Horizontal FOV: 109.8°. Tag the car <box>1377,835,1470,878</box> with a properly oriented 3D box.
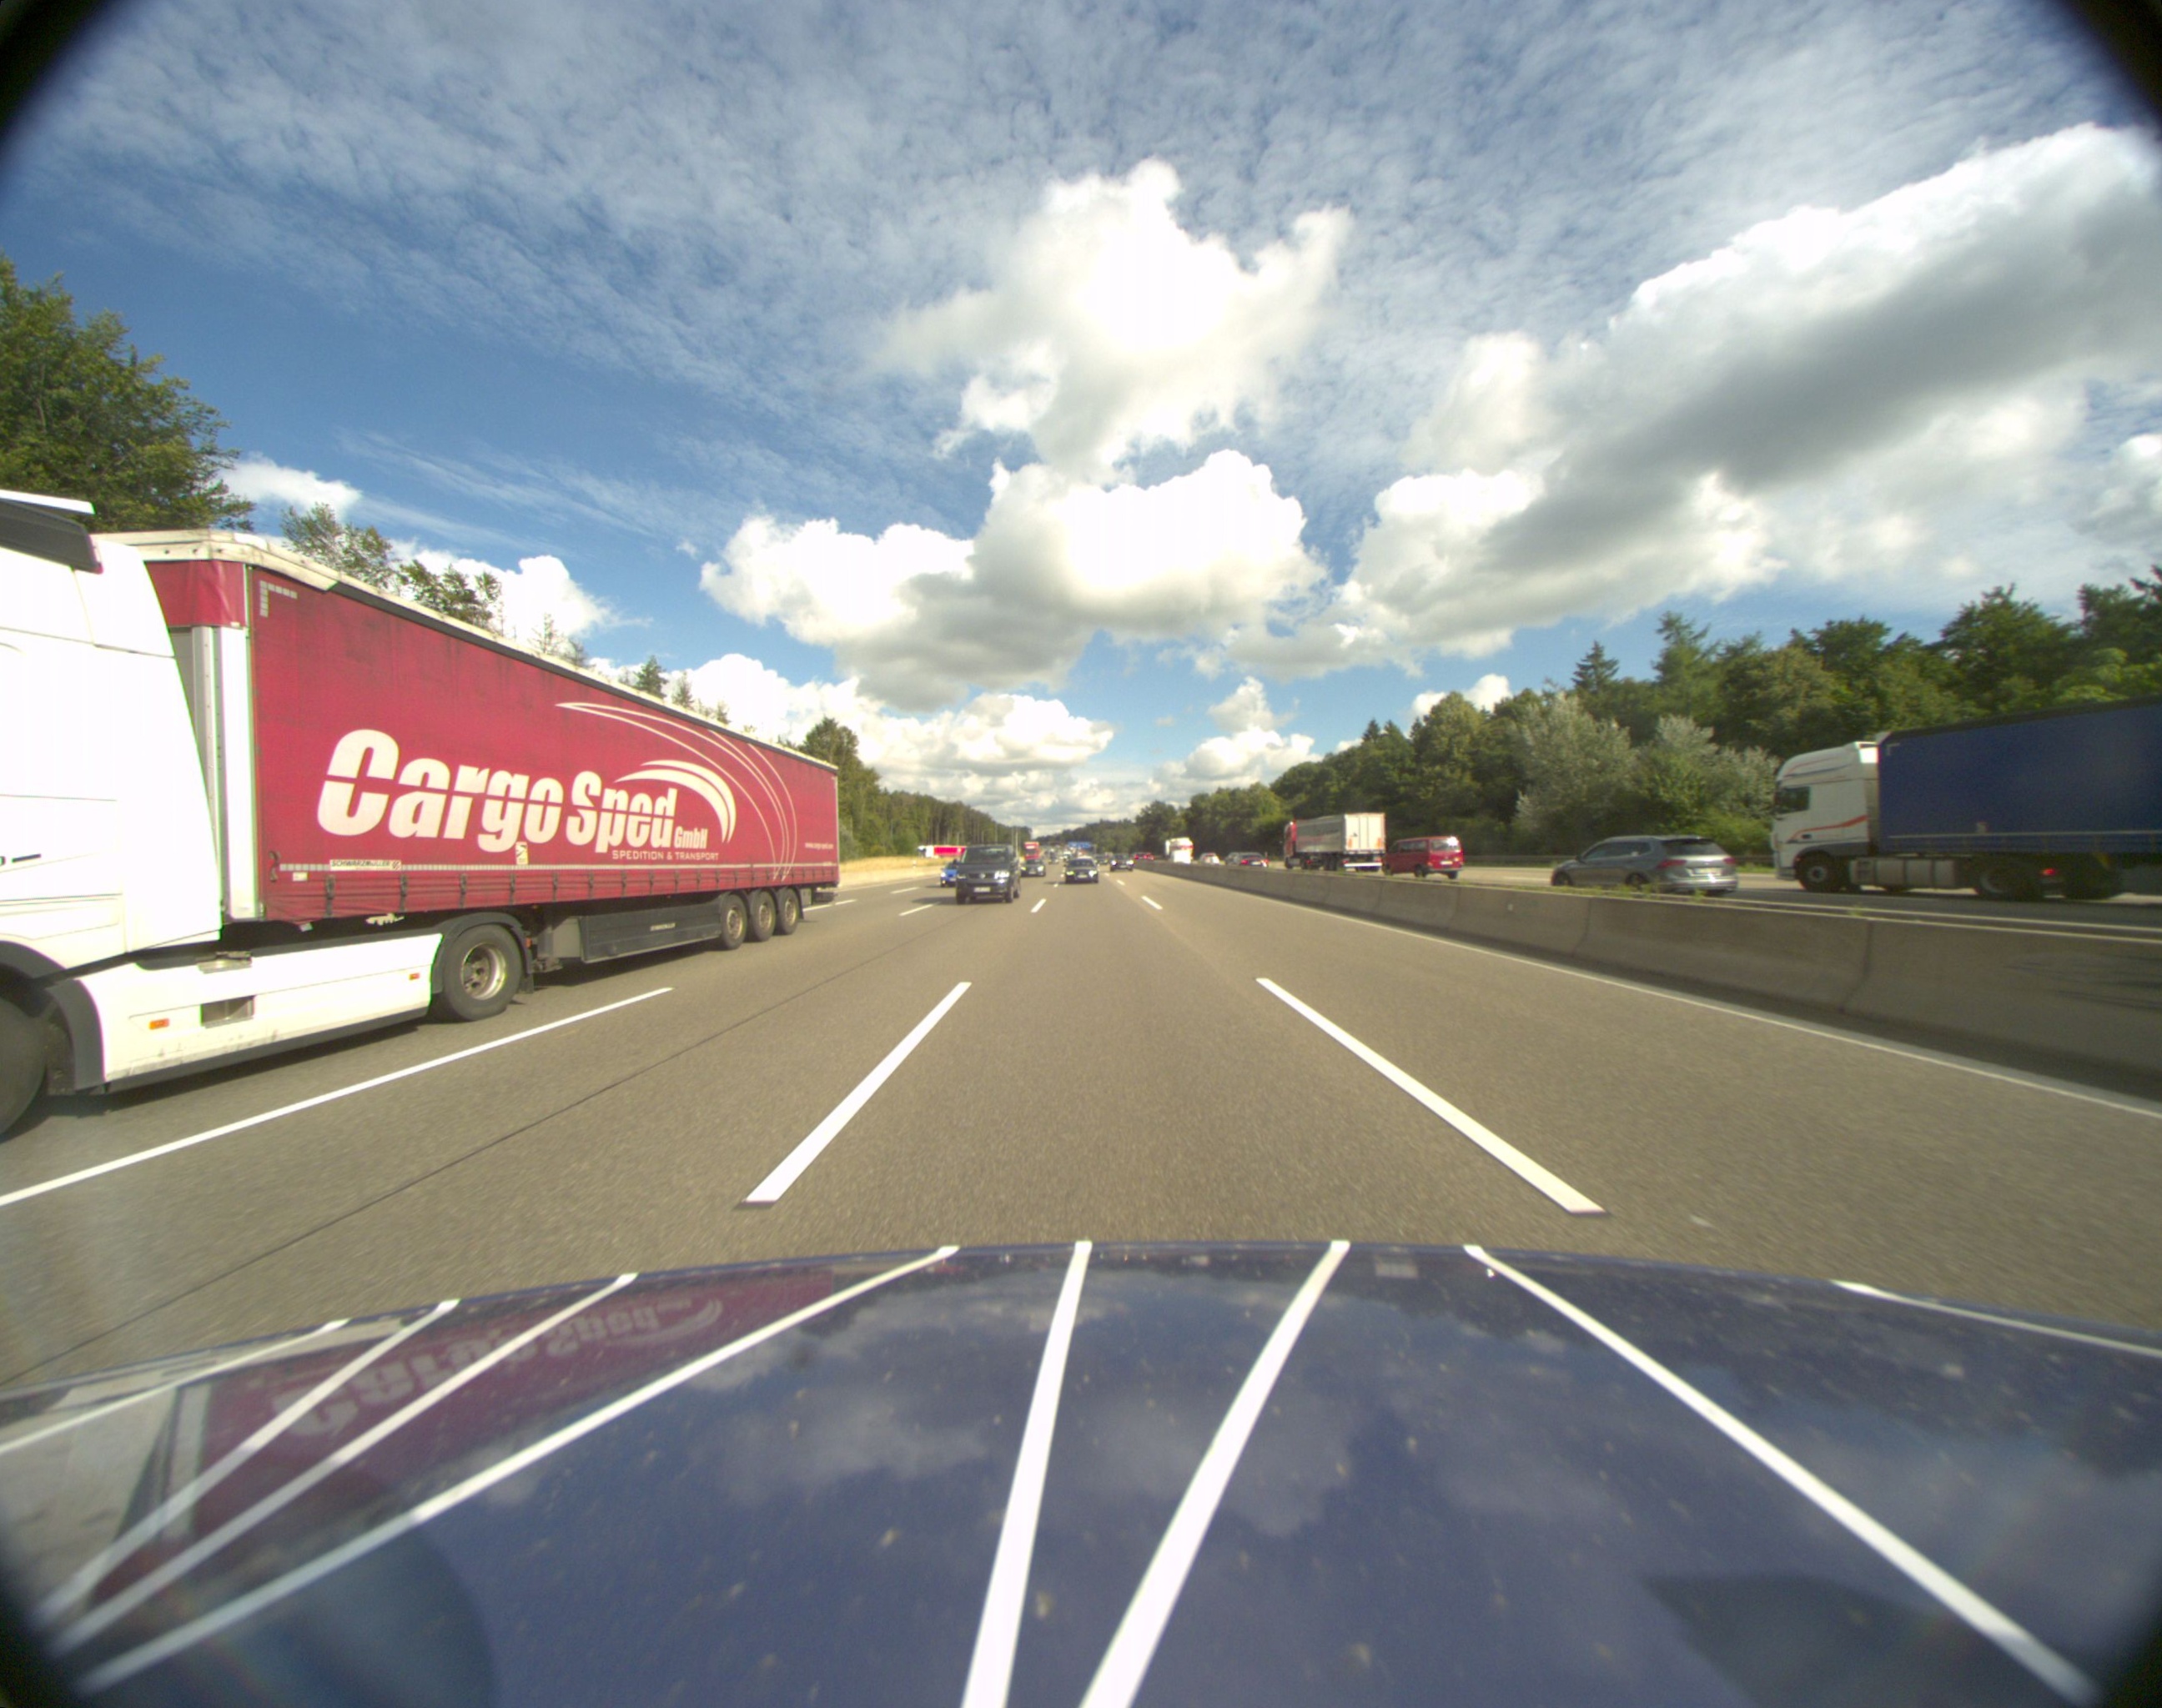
[{"bbox_3d":[16.256,0.103,36.362,1.852,1.929,5.031,0,0,-5],"label":"car"}]

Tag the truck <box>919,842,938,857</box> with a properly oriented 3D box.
[{"bbox_3d":[-48.125,-1.362,239.622,2.888,4.482,5.133,0,1,44],"label":"truck"}]

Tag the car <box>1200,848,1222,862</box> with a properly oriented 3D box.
[{"bbox_3d":[13.760,0.129,80.633,1.607,1.395,4.000,-2,0,0],"label":"car"}]

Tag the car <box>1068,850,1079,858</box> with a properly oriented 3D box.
[{"bbox_3d":[-1.577,-0.061,157.599,2.153,1.540,4.676,-1,0,-2],"label":"car"}]

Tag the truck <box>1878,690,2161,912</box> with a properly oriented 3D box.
[{"bbox_3d":[21.322,-0.996,11.958,2.826,4.070,13.842,-2,0,-1],"label":"truck"}]

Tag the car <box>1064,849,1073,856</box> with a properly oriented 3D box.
[{"bbox_3d":[-3.227,-0.412,190.656,2.153,1.540,4.676,-1,0,-2],"label":"car"}]

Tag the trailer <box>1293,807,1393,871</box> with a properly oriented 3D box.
[{"bbox_3d":[17.766,-0.949,52.583,2.974,3.835,11.280,-2,0,0],"label":"trailer"}]

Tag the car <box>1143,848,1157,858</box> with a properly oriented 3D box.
[{"bbox_3d":[12.335,-0.197,136.386,1.860,1.660,5.210,-2,0,-1],"label":"car"}]

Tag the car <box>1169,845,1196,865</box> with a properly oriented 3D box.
[{"bbox_3d":[9.928,0.111,74.739,1.854,1.867,4.615,-2,0,-1],"label":"car"}]

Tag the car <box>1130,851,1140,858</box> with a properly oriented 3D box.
[{"bbox_3d":[11.592,0.143,163.036,1.633,1.503,3.999,-2,0,-3],"label":"car"}]

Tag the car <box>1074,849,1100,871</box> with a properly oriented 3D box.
[{"bbox_3d":[0.516,0.508,68.158,2.153,1.800,5.098,-2,1,0],"label":"car"}]

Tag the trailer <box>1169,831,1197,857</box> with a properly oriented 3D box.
[{"bbox_3d":[16.920,-1.617,126.306,2.795,3.922,12.251,-2,0,-1],"label":"trailer"}]

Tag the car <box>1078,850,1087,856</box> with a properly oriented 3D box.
[{"bbox_3d":[0.363,-0.383,204.292,2.153,1.540,4.676,-1,0,-2],"label":"car"}]

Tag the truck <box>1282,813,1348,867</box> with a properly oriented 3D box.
[{"bbox_3d":[17.777,-1.025,58.208,2.974,3.835,6.764,-2,0,0],"label":"truck"}]

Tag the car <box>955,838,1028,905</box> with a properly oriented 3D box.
[{"bbox_3d":[-3.072,0.566,27.080,1.853,2.097,4.932,-2,0,1],"label":"car"}]

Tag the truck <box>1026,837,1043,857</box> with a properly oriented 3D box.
[{"bbox_3d":[-8.635,-1.269,141.892,3.018,3.662,7.559,-1,0,-2],"label":"truck"}]

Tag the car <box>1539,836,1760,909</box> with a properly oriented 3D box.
[{"bbox_3d":[13.950,0.404,19.118,1.848,1.586,4.913,0,0,0],"label":"car"}]

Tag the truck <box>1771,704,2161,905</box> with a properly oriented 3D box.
[{"bbox_3d":[21.189,-1.041,18.701,2.826,4.070,6.060,-2,0,-1],"label":"truck"}]

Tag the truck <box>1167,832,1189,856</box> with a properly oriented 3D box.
[{"bbox_3d":[16.830,-1.695,132.377,2.795,3.922,6.444,-2,0,-1],"label":"truck"}]

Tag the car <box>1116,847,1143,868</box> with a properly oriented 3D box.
[{"bbox_3d":[4.347,0.265,68.543,2.152,1.800,5.099,-2,1,2],"label":"car"}]

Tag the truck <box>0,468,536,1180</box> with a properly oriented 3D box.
[{"bbox_3d":[-7.484,-0.152,5.485,2.781,4.022,5.773,-2,0,0],"label":"truck"}]

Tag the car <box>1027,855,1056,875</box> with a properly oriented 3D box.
[{"bbox_3d":[-3.011,0.813,58.994,2.153,1.426,5.098,-2,0,-2],"label":"car"}]

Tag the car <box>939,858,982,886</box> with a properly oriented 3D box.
[{"bbox_3d":[-6.623,0.964,42.167,1.654,1.433,4.000,-2,0,1],"label":"car"}]

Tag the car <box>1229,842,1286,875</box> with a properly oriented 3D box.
[{"bbox_3d":[11.019,0.245,47.913,2.177,1.867,5.360,-2,0,-1],"label":"car"}]

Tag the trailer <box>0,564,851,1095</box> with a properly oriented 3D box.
[{"bbox_3d":[-7.419,-0.193,12.703,2.781,4.021,13.712,-2,0,0],"label":"trailer"}]

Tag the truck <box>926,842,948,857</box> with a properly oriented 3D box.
[{"bbox_3d":[-44.915,-1.403,237.419,2.872,4.481,6.109,-1,1,44],"label":"truck"}]

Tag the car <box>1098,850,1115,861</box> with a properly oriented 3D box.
[{"bbox_3d":[3.662,0.246,110.665,2.153,1.540,4.676,-2,0,-2],"label":"car"}]

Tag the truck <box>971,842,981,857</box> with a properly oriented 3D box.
[{"bbox_3d":[-31.210,-1.397,226.463,2.881,4.480,7.172,0,0,-8],"label":"truck"}]

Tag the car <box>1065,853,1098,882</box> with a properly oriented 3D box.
[{"bbox_3d":[0.094,0.738,42.876,1.733,1.500,4.728,-2,0,1],"label":"car"}]

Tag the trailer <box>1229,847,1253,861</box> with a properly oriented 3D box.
[{"bbox_3d":[17.346,-0.003,82.563,1.538,1.394,4.179,-2,0,-2],"label":"trailer"}]

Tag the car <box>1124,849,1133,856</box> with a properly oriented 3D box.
[{"bbox_3d":[11.777,-0.369,189.060,1.860,1.551,4.284,-2,0,-1],"label":"car"}]

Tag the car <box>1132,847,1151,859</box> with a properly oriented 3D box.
[{"bbox_3d":[8.997,-0.110,113.560,2.160,1.690,5.349,-2,0,-2],"label":"car"}]

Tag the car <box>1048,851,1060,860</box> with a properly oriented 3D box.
[{"bbox_3d":[-5.018,0.288,142.792,2.153,1.540,4.676,-1,0,-2],"label":"car"}]

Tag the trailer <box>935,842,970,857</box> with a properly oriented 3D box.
[{"bbox_3d":[-40.695,-1.462,241.693,11.406,4.348,2.837,-2,1,-45],"label":"trailer"}]
